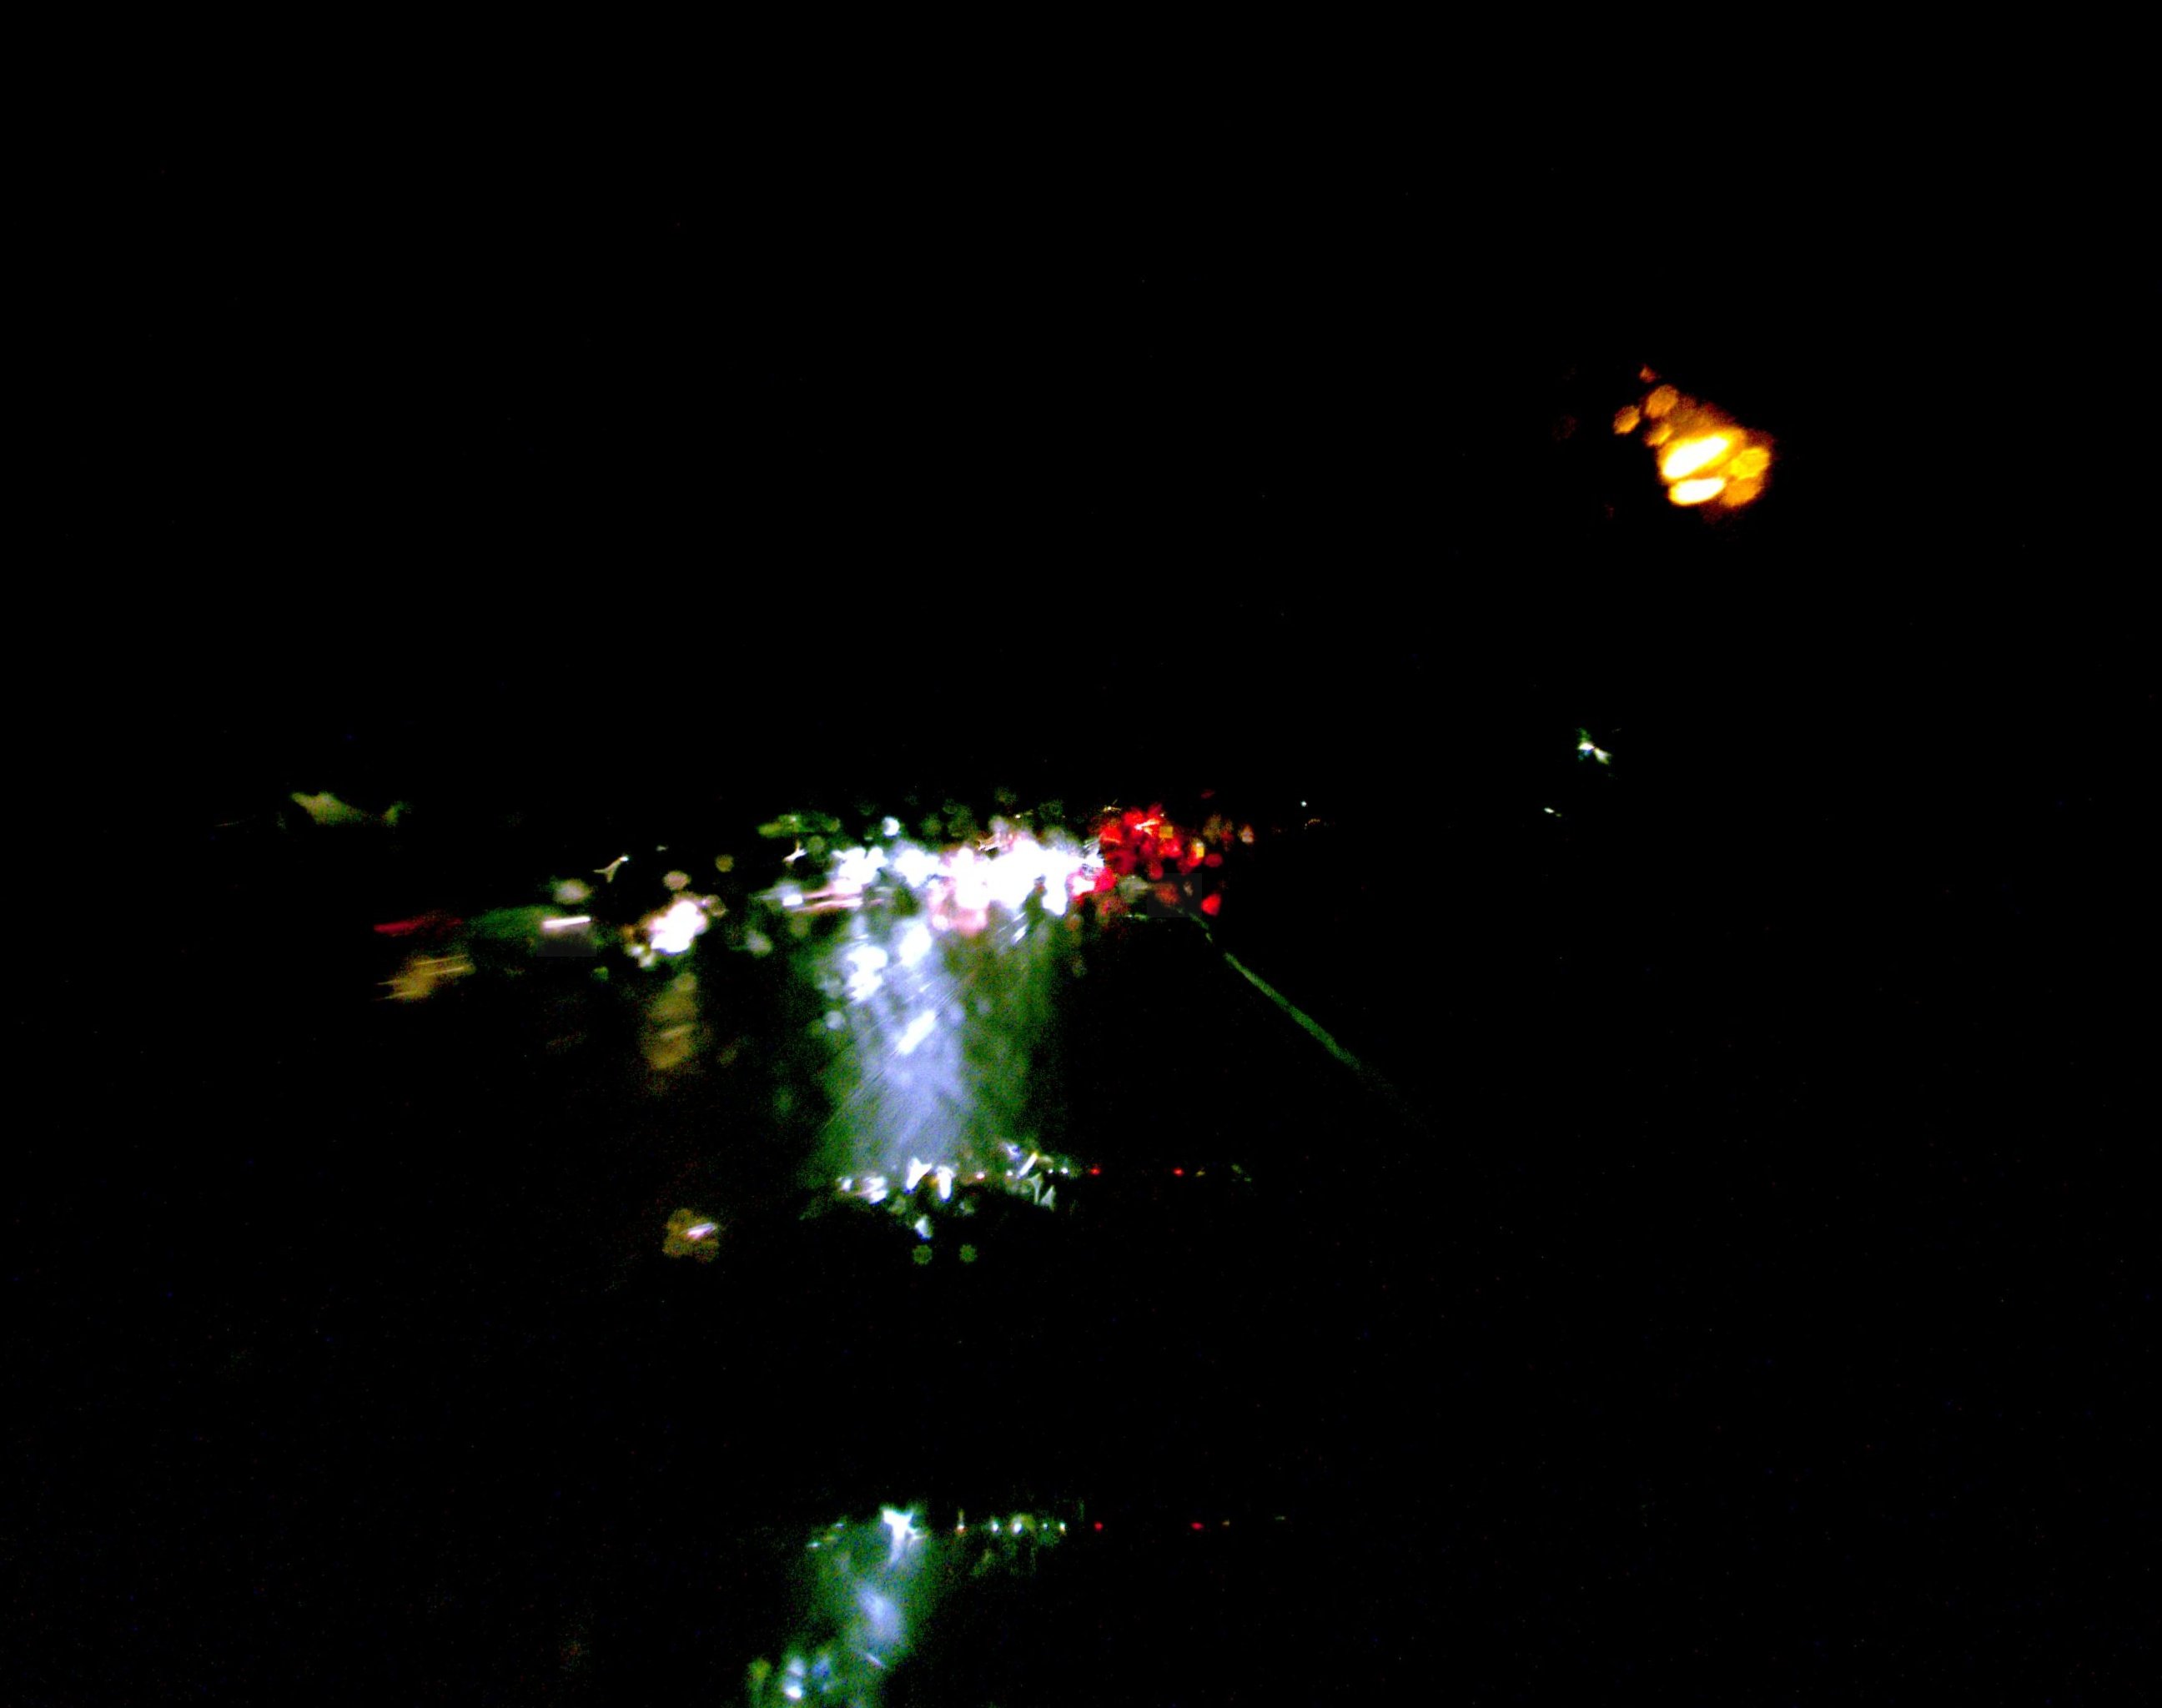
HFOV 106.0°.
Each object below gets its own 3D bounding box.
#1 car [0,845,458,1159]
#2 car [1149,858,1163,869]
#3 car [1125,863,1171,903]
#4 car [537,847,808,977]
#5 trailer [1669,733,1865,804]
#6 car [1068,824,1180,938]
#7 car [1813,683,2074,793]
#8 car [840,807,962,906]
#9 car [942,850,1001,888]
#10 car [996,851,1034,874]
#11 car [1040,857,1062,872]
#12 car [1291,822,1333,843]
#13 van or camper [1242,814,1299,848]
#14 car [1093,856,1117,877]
[{"bbox_3d":[-6.013,0.711,4.739,1.713,1.507,3.830,0,0,2],"label":"car"},{"bbox_3d":[10.173,1.260,110.894,1.654,1.450,4.059,-1,-1,8],"label":"car"},{"bbox_3d":[2.800,1.140,33.347,1.759,1.450,4.225,0,0,6],"label":"car"},{"bbox_3d":[-5.725,0.708,12.123,1.713,1.588,4.314,0,0,2],"label":"car"},{"bbox_3d":[26.052,-3.171,31.294,2.225,2.072,5.703,-1,0,-9],"label":"trailer"},{"bbox_3d":[0.920,0.454,16.243,1.933,1.972,4.224,0,0,5],"label":"car"},{"bbox_3d":[26.911,-3.483,25.789,2.113,2.635,5.434,-1,0,-9],"label":"car"},{"bbox_3d":[-5.350,0.057,25.278,2.114,2.707,6.245,0,0,3],"label":"car"},{"bbox_3d":[-4.695,0.605,35.415,1.871,1.537,3.990,0,0,2],"label":"car"},{"bbox_3d":[-4.397,0.540,54.941,2.069,1.449,4.994,0,0,1],"label":"car"},{"bbox_3d":[-2.878,0.985,79.636,1.911,1.444,4.547,0,0,1],"label":"car"},{"bbox_3d":[19.237,-1.785,67.944,1.637,1.618,4.118,0,0,-12],"label":"car"},{"bbox_3d":[17.288,-2.044,74.787,2.583,2.908,6.329,-1,0,-13],"label":"van or camper"},{"bbox_3d":[1.919,0.976,63.937,1.687,1.630,3.857,0,-1,4],"label":"car"}]
